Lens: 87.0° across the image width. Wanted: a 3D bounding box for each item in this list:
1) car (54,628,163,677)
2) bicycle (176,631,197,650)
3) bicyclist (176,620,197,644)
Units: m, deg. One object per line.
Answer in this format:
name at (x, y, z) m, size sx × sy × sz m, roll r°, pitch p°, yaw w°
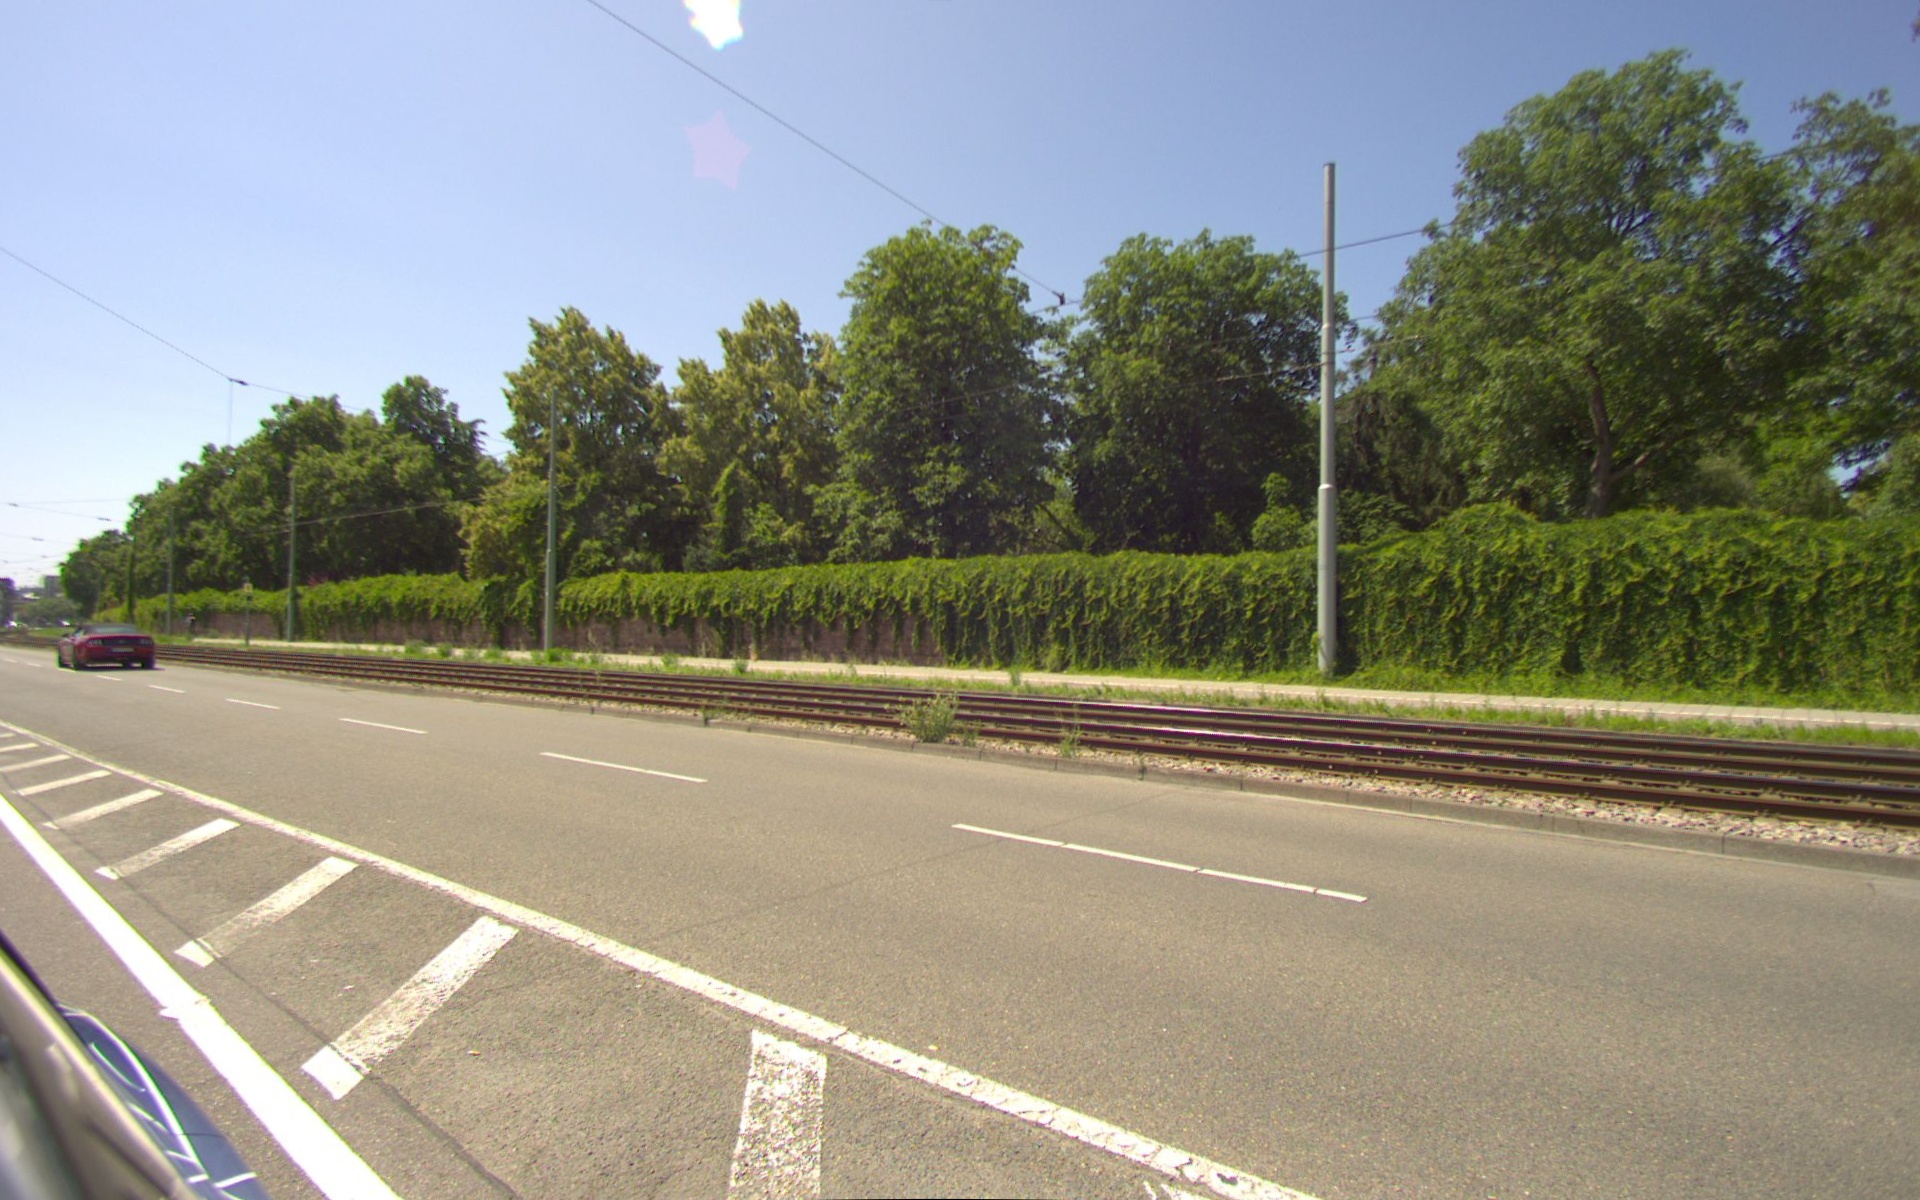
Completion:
car at (-26.115, 1.547, 30.996) m, size 4.537 × 1.369 × 1.963 m, roll -1°, pitch -2°, yaw 42°
bicycle at (-50.654, 2.641, 66.246) m, size 0.818 × 1.165 × 2.688 m, roll 1°, pitch -2°, yaw -43°
bicyclist at (-50.495, 2.080, 66.096) m, size 0.983 × 1.497 × 1.001 m, roll 1°, pitch -2°, yaw -44°
